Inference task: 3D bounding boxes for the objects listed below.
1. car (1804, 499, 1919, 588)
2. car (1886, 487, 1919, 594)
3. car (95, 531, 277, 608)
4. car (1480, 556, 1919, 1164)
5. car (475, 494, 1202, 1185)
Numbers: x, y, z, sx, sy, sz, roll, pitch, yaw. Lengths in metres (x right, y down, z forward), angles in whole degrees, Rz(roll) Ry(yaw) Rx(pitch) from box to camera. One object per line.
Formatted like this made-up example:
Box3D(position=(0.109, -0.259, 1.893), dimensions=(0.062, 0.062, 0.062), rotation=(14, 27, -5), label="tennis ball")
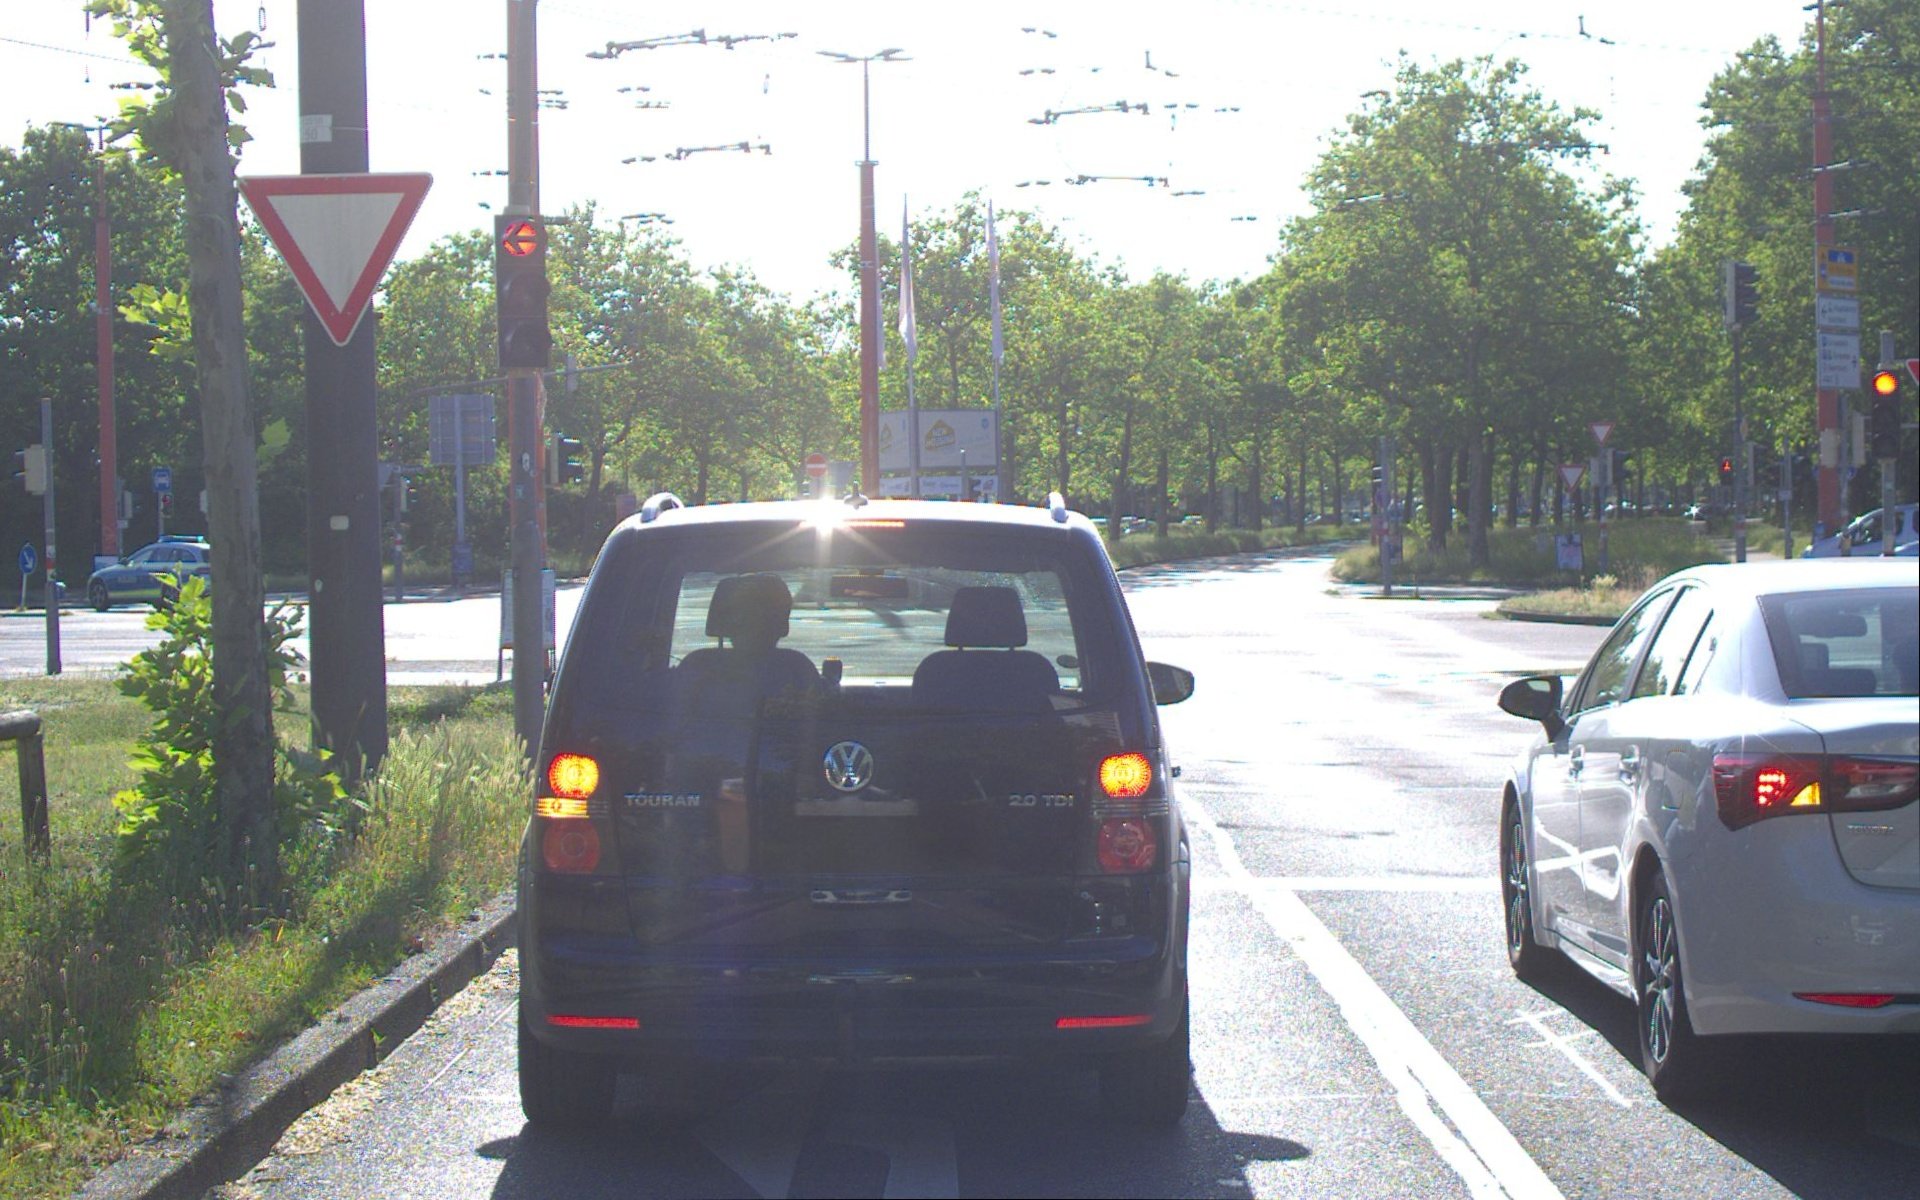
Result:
Box3D(position=(17.990, -1.051, 65.016), dimensions=(3.647, 1.650, 1.678), rotation=(1, 1, 25), label="car")
Box3D(position=(18.569, -1.021, 61.090), dimensions=(3.837, 1.883, 1.762), rotation=(1, 1, 23), label="car")
Box3D(position=(-17.122, -0.690, 75.984), dimensions=(4.110, 1.650, 1.799), rotation=(1, 1, 40), label="car")
Box3D(position=(2.712, 0.604, 10.333), dimensions=(1.720, 1.433, 4.198), rotation=(1, 1, 1), label="car")
Box3D(position=(-0.314, 0.527, 10.041), dimensions=(1.700, 1.616, 3.897), rotation=(0, 1, -1), label="car")
